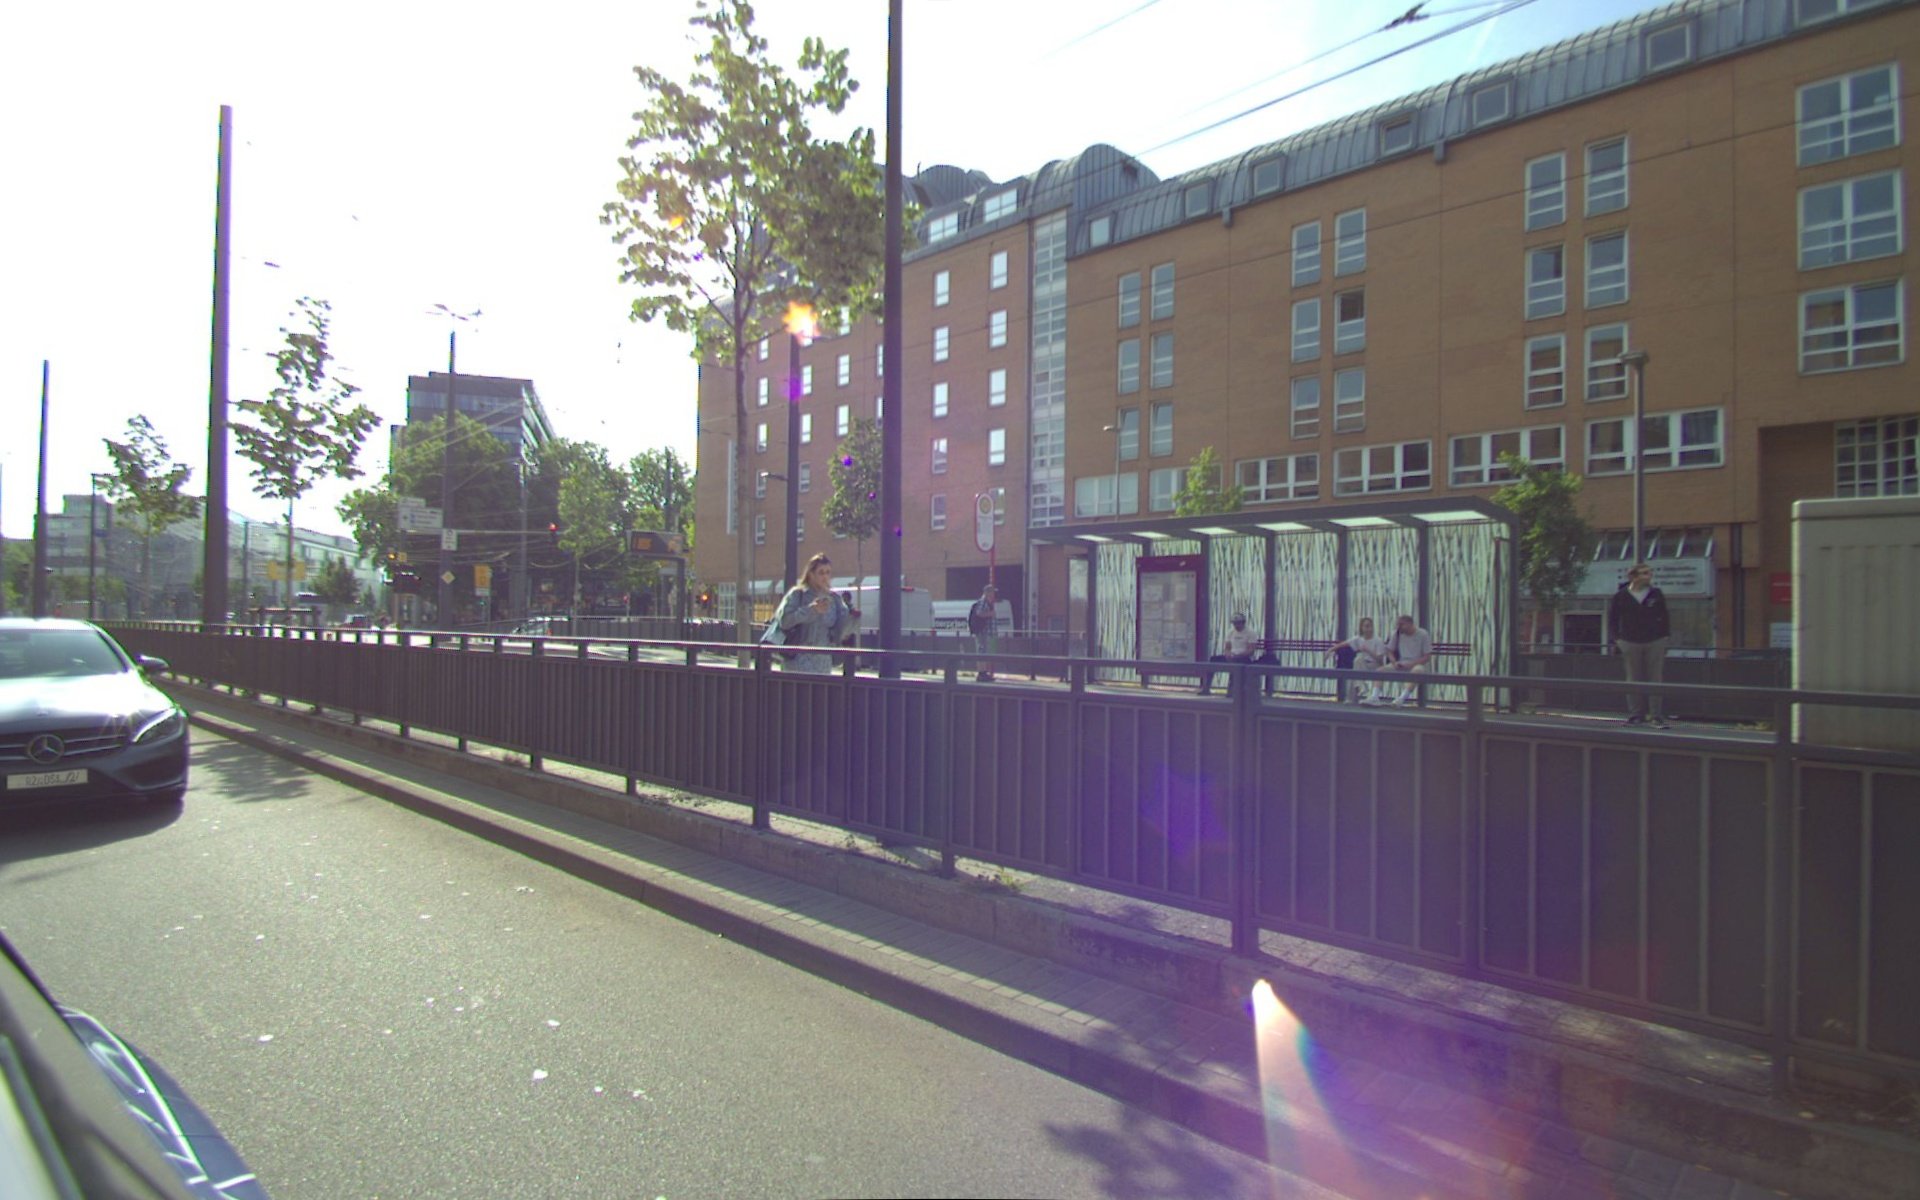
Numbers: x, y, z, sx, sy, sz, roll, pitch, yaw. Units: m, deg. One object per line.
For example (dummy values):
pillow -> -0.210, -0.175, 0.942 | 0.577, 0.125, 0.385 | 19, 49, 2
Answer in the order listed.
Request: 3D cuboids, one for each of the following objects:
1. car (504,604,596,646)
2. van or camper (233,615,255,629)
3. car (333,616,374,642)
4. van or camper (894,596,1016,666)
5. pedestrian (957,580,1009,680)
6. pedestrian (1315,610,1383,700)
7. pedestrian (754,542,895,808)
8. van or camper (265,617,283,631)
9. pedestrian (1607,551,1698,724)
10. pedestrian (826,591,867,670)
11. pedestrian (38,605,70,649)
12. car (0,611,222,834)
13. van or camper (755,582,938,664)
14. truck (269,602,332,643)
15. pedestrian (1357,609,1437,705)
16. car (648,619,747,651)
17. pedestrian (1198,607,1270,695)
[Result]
car -> -16.711, 1.014, 41.219 | 4.025, 1.630, 1.971 | -1, -2, 44
van or camper -> -80.465, 2.494, 113.710 | 1.816, 1.564, 4.009 | 2, -2, -37
car -> -49.481, 2.331, 82.580 | 1.970, 2.029, 4.003 | 2, -2, -44
van or camper -> -0.280, 1.288, 43.086 | 5.355, 2.823, 1.971 | -1, -2, 45
pedestrian -> 0.429, 0.552, 18.497 | 0.825, 1.759, 0.783 | 2, -3, 8
pedestrian -> 5.596, 0.783, 14.559 | 0.675, 1.255, 0.782 | -1, -3, 43
pedestrian -> -0.964, 0.493, 7.215 | 0.727, 1.771, 0.666 | 0, 1, 43
van or camper -> -89.735, 3.130, 132.370 | 1.896, 1.714, 4.011 | 2, -2, -34
pedestrian -> 7.890, 0.419, 11.565 | 0.804, 1.900, 0.549 | 0, -2, 30
pedestrian -> -2.614, 0.687, 23.307 | 0.643, 1.773, 0.699 | -1, 1, -45
pedestrian -> -34.321, 1.013, 38.330 | 0.640, 1.646, 0.580 | 1, -2, 10
car -> -7.533, 0.799, 8.060 | 4.236, 1.403, 1.881 | 0, 0, 43
van or camper -> -3.211, 0.631, 27.801 | 5.343, 2.029, 2.059 | -1, -3, 44
truck -> -65.364, 2.178, 100.145 | 3.123, 3.805, 12.372 | 2, -2, -43
pedestrian -> 6.013, 0.775, 13.912 | 0.675, 1.255, 1.140 | -1, -3, 43
car -> -8.599, 1.129, 33.024 | 3.489, 0.978, 1.528 | -1, -3, 44
pedestrian -> 4.319, 0.787, 15.934 | 0.808, 1.324, 0.860 | -1, -2, 41
